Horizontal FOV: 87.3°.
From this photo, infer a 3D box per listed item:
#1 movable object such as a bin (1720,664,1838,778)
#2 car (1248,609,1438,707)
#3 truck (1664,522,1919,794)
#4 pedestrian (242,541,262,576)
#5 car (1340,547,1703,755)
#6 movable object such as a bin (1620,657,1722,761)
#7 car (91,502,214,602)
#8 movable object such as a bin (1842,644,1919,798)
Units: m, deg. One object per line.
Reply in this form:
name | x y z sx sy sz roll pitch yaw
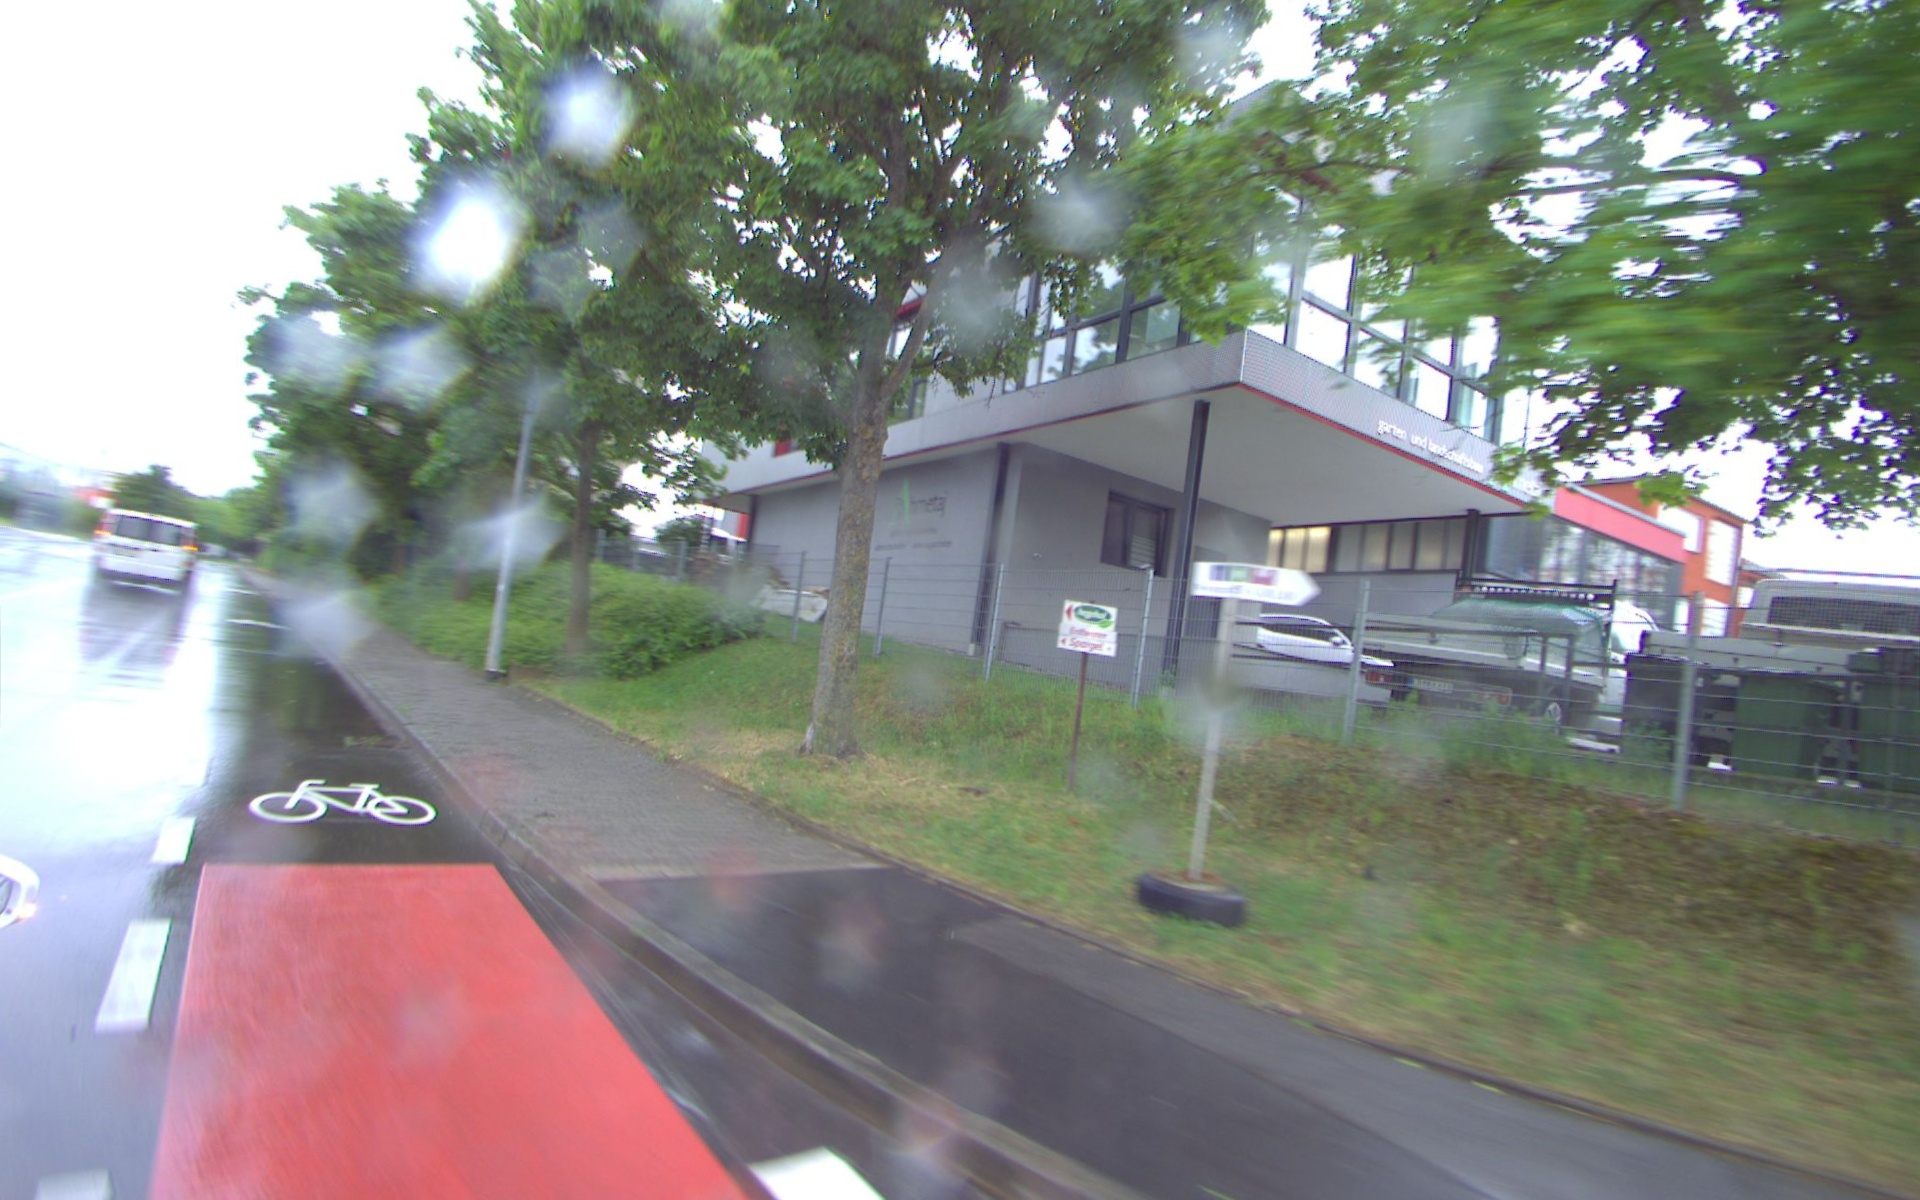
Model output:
movable object such as a bin | 6.592 0.969 8.101 0.535 0.827 0.561 7 -1 -35
car | 9.707 1.426 25.752 1.982 2.037 3.963 7 -2 -35
truck | 9.701 0.759 10.859 4.805 2.368 2.225 9 -3 -41
pedestrian | -41.917 -2.450 59.534 0.772 1.929 0.721 7 -2 -37
car | 7.156 0.708 12.606 4.897 2.037 2.043 8 -2 -37
movable object such as a bin | 6.166 0.942 8.729 0.535 0.811 0.518 7 -1 -35
car | -20.191 -1.186 25.360 1.888 2.041 5.323 8 -2 -35
movable object such as a bin | 7.220 0.920 7.247 0.875 1.055 1.044 7 -1 -33
